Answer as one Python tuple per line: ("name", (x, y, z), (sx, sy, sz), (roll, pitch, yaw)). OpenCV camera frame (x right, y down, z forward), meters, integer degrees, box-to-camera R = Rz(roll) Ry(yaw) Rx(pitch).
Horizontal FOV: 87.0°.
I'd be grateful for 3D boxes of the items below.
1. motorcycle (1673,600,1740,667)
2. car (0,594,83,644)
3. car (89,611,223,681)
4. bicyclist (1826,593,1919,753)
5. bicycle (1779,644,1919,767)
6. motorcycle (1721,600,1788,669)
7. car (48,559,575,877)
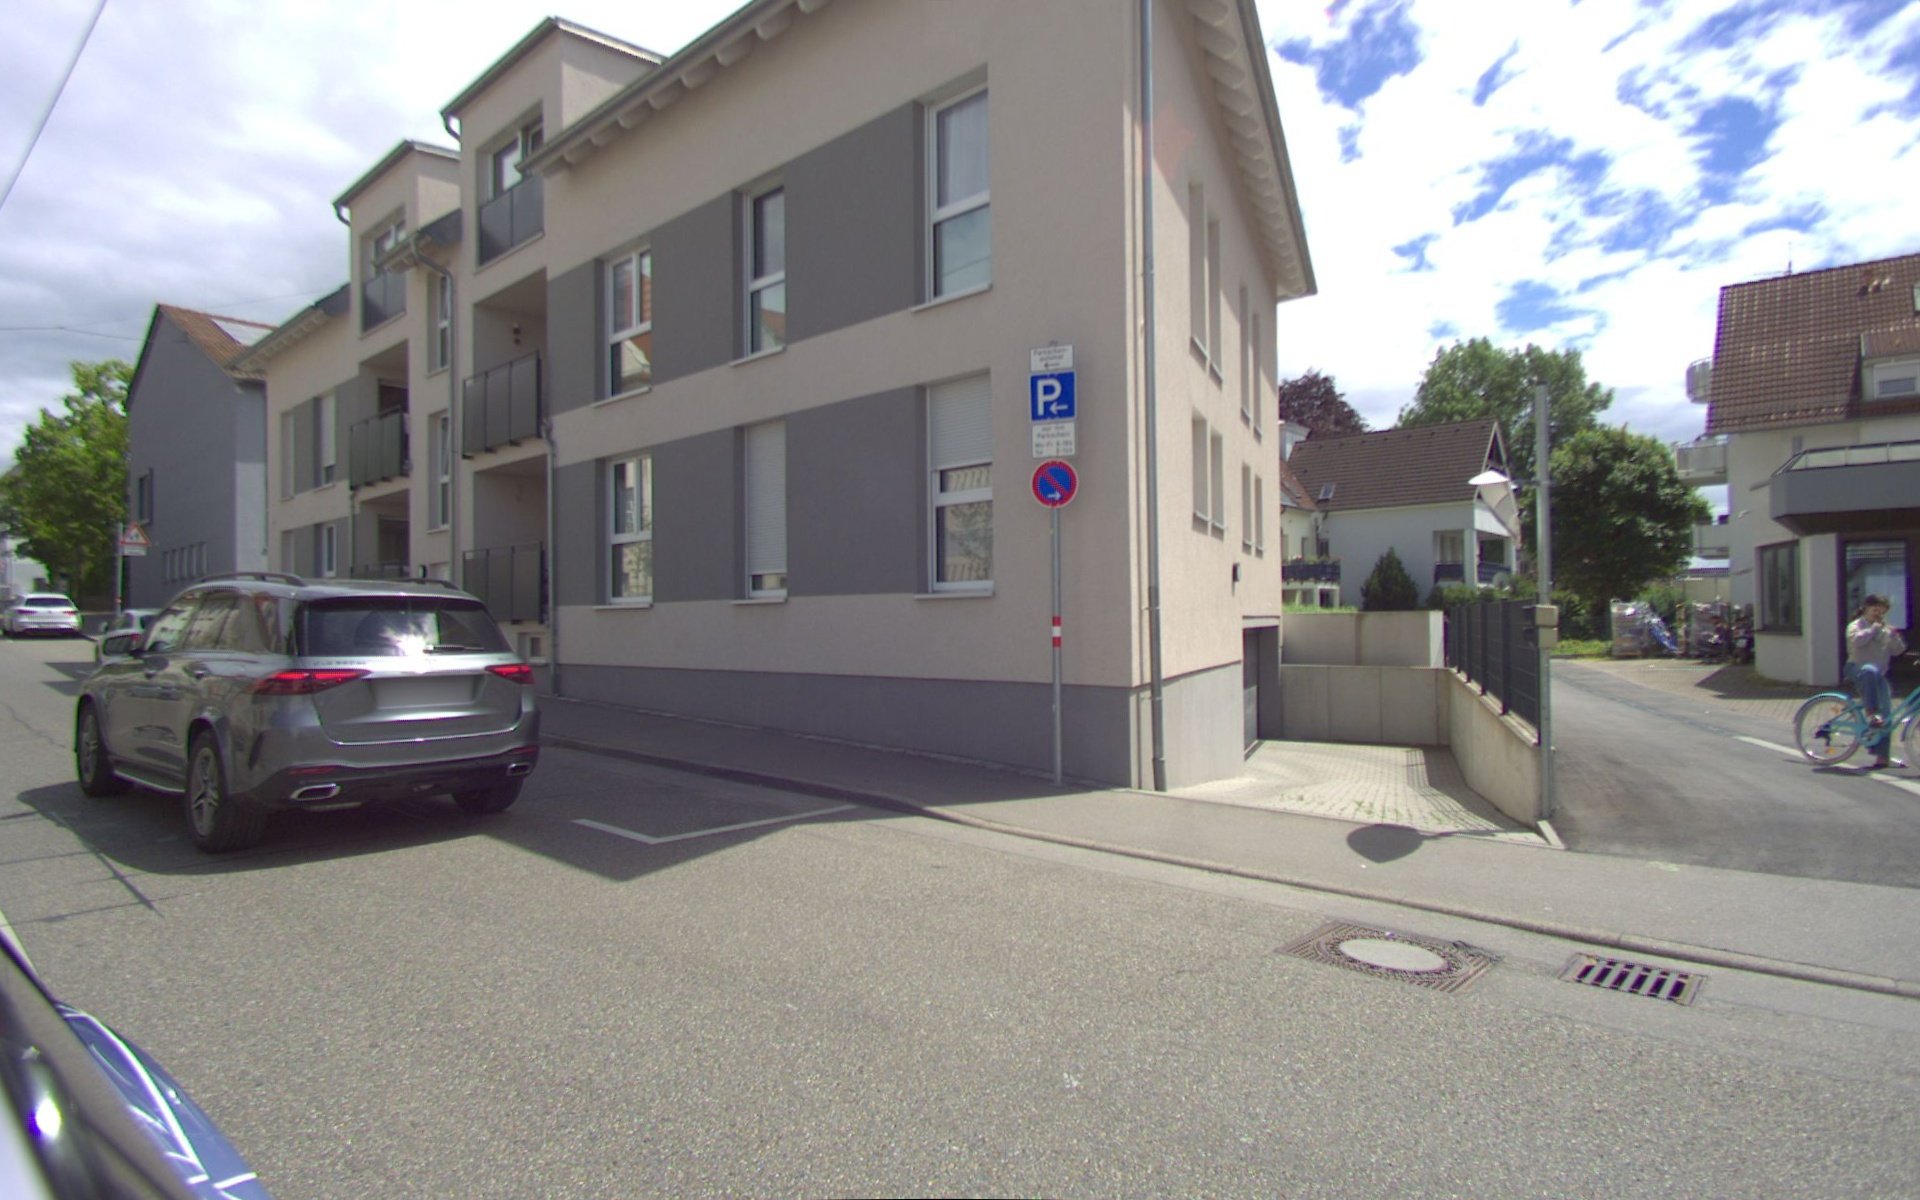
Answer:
("motorcycle", (18.366, 0.796, 24.850), (0.860, 1.530, 3.567), (-2, -1, 44))
("car", (-30.364, 0.592, 33.300), (4.066, 1.499, 1.714), (2, 0, 42))
("car", (-16.960, 0.923, 21.312), (3.472, 1.340, 1.644), (-1, -1, 42))
("bicyclist", (7.529, 0.574, 8.243), (0.631, 1.251, 0.428), (0, 0, -16))
("bicycle", (7.564, 0.832, 8.088), (0.451, 0.924, 1.593), (-1, -1, -14))
("motorcycle", (18.783, 0.778, 23.881), (0.860, 1.530, 3.749), (-2, -1, 44))
("car", (-5.097, 0.715, 7.711), (4.589, 1.732, 1.923), (-2, -2, 37))
